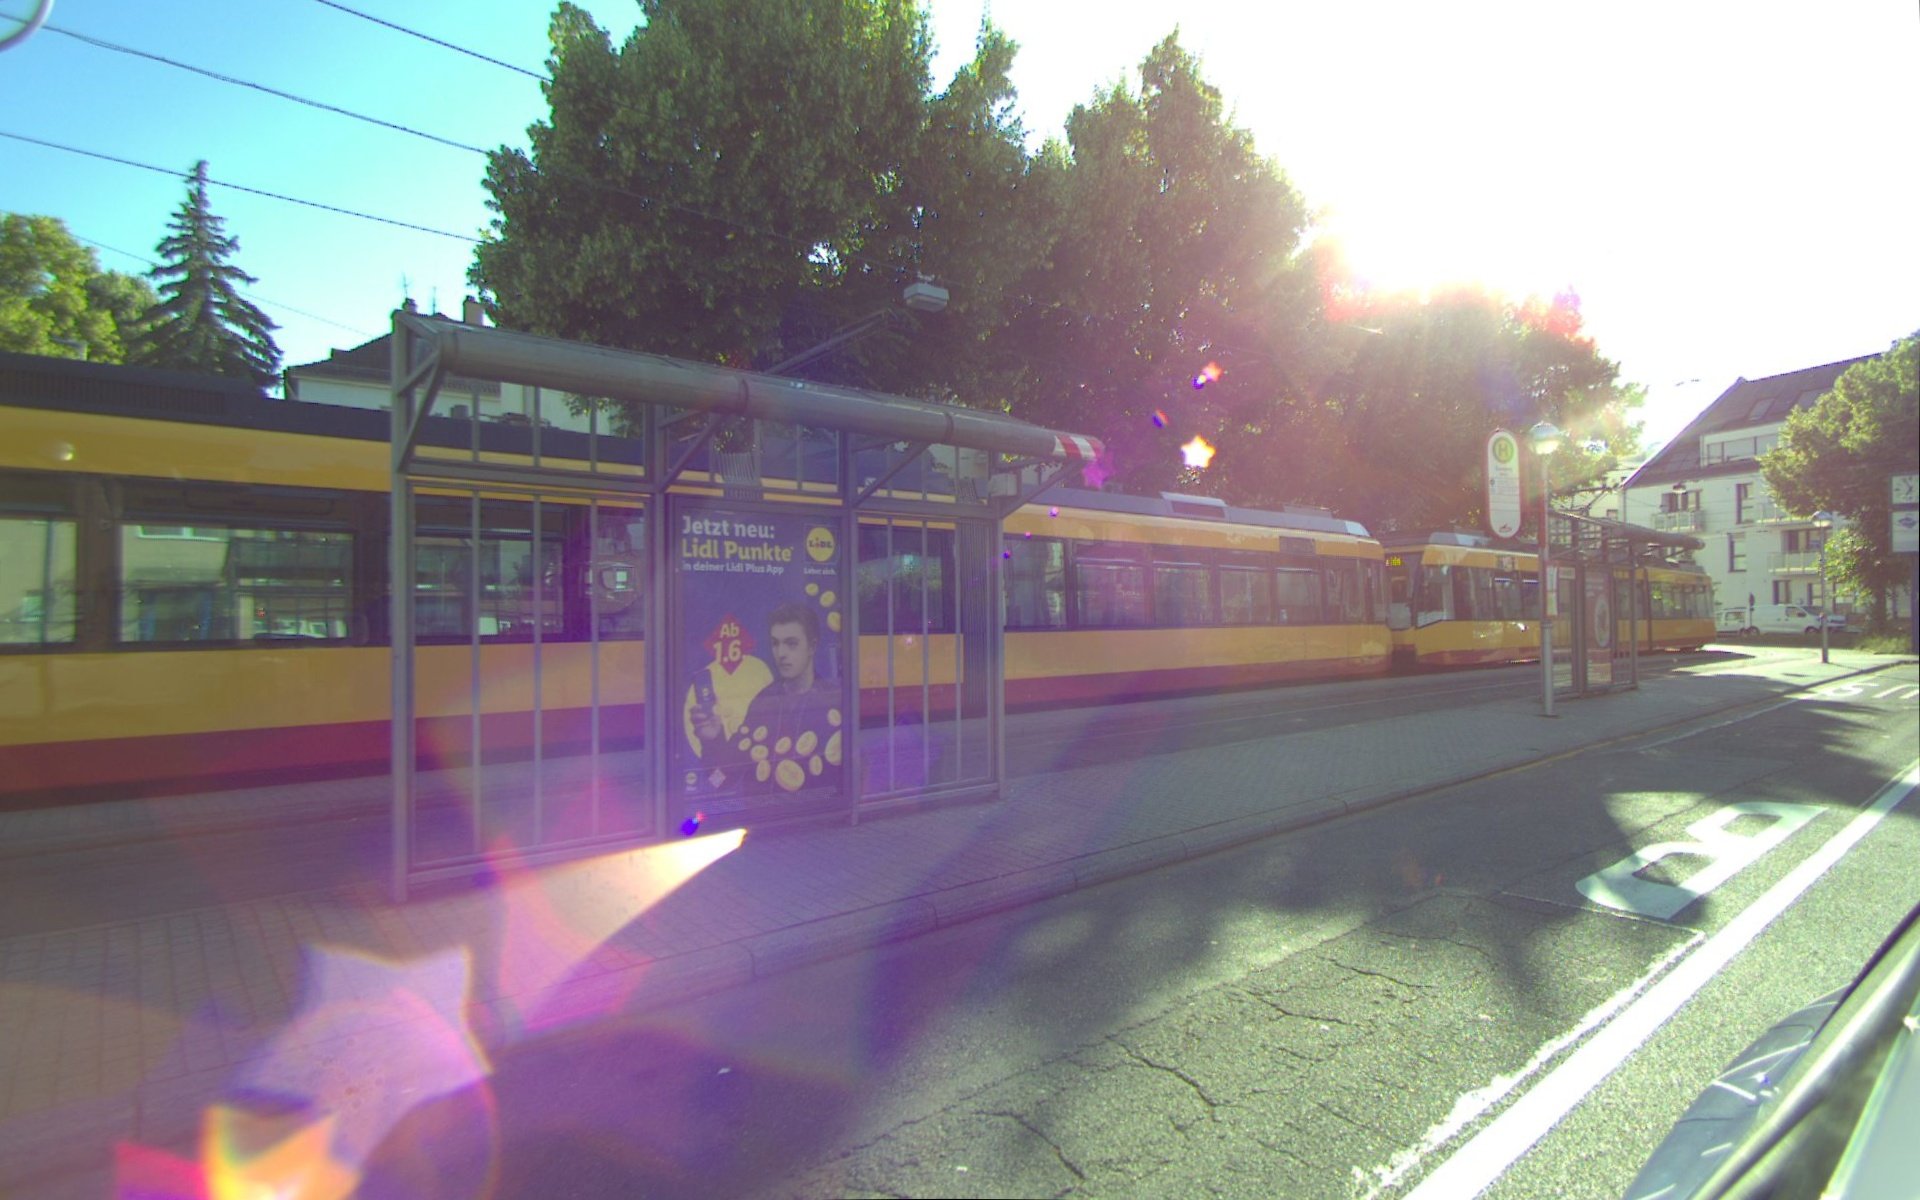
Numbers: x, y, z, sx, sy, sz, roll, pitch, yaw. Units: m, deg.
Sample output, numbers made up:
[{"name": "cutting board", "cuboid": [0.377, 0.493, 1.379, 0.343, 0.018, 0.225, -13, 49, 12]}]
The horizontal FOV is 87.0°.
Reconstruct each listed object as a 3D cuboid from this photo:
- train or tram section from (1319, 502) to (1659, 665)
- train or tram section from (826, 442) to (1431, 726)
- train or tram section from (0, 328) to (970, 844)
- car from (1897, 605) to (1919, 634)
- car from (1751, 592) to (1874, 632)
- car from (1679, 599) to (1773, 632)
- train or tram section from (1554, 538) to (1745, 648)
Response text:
[{"name": "train or tram section", "cuboid": [15.196, -0.294, 27.758, 15.663, 3.465, 2.961, 1, 0, -42]}, {"name": "train or tram section", "cuboid": [3.985, -0.294, 18.175, 13.229, 3.578, 2.962, -1, 1, -41]}, {"name": "train or tram section", "cuboid": [-6.764, -0.117, 8.884, 15.691, 3.578, 2.962, -1, 1, -41]}, {"name": "car", "cuboid": [50.763, 0.970, 51.624, 1.574, 1.481, 4.211, -1, -2, -9]}, {"name": "car", "cuboid": [44.966, 0.669, 53.544, 1.833, 1.958, 4.798, 0, -2, -11]}, {"name": "car", "cuboid": [47.785, 0.936, 63.209, 1.958, 1.981, 4.281, 0, 0, -21]}, {"name": "train or tram section", "cuboid": [25.782, -0.184, 37.389, 13.235, 3.465, 2.960, 1, -1, -43]}]
